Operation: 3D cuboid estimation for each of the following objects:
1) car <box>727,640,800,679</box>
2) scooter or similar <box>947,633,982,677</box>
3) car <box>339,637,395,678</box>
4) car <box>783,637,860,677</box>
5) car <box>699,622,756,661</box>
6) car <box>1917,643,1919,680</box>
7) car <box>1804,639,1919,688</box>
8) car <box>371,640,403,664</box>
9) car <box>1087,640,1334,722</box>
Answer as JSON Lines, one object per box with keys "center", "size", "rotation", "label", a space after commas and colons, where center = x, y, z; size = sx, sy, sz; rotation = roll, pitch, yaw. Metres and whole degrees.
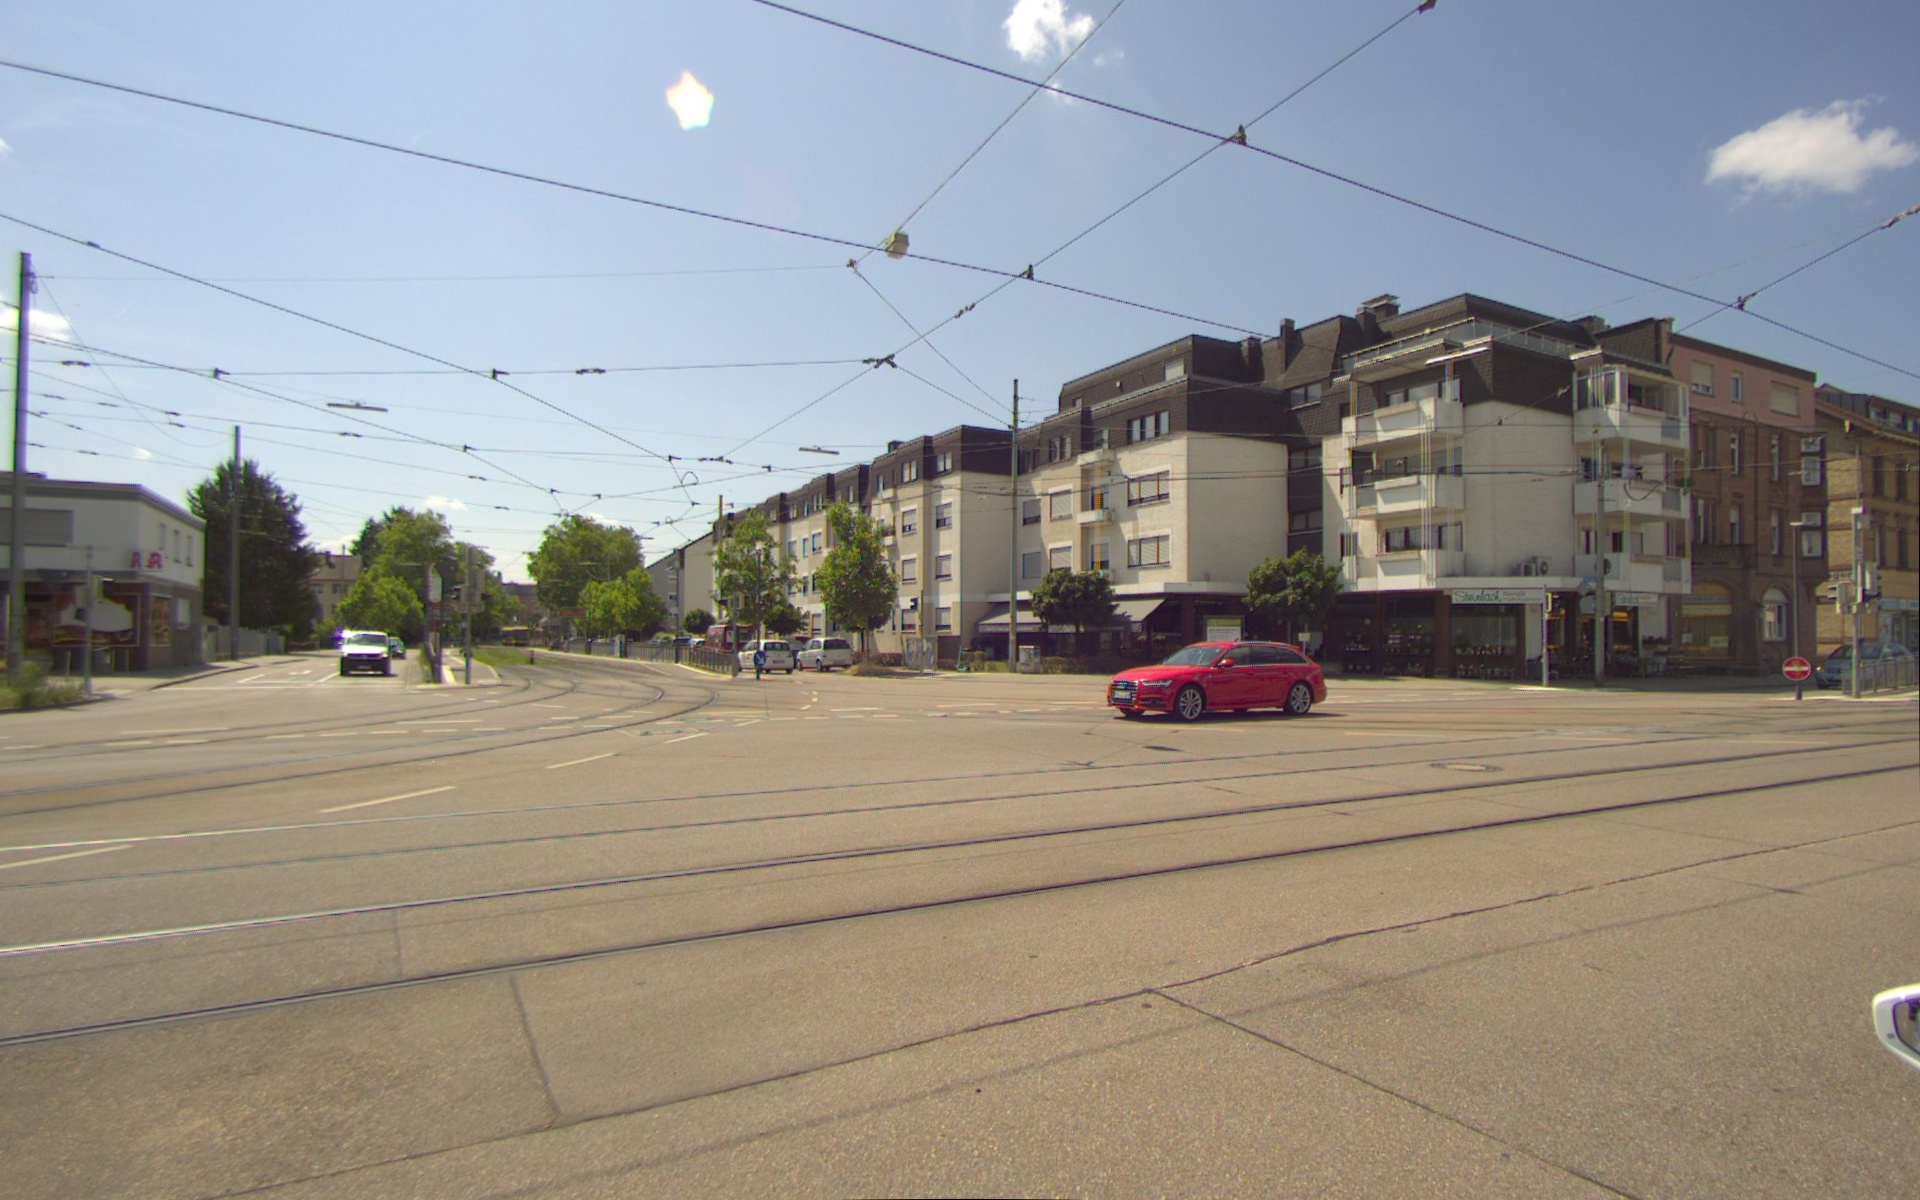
{"center": [-8.952, 2.658, 45.442], "size": [1.975, 1.627, 4.788], "rotation": [1, -2, -27], "label": "car"}
{"center": [0.194, 2.393, 43.848], "size": [0.610, 1.870, 1.997], "rotation": [1, -3, -31], "label": "scooter or similar"}
{"center": [-26.467, 2.540, 44.950], "size": [1.976, 1.750, 3.971], "rotation": [1, -3, -29], "label": "car"}
{"center": [-6.845, 2.779, 49.213], "size": [1.978, 1.863, 4.781], "rotation": [2, -3, -31], "label": "car"}
{"center": [-14.915, 2.664, 64.253], "size": [2.189, 2.369, 5.181], "rotation": [1, -3, -29], "label": "car"}
{"center": [40.405, 2.470, 40.426], "size": [3.806, 1.463, 1.648], "rotation": [1, -2, -29], "label": "car"}
{"center": [31.899, 2.209, 35.506], "size": [4.551, 1.636, 1.727], "rotation": [1, -3, -31], "label": "car"}
{"center": [-44.111, 3.991, 77.267], "size": [1.977, 1.810, 3.967], "rotation": [2, -3, -31], "label": "car"}
{"center": [5.036, 1.539, 20.065], "size": [4.763, 1.469, 1.985], "rotation": [1, -3, -29], "label": "car"}
